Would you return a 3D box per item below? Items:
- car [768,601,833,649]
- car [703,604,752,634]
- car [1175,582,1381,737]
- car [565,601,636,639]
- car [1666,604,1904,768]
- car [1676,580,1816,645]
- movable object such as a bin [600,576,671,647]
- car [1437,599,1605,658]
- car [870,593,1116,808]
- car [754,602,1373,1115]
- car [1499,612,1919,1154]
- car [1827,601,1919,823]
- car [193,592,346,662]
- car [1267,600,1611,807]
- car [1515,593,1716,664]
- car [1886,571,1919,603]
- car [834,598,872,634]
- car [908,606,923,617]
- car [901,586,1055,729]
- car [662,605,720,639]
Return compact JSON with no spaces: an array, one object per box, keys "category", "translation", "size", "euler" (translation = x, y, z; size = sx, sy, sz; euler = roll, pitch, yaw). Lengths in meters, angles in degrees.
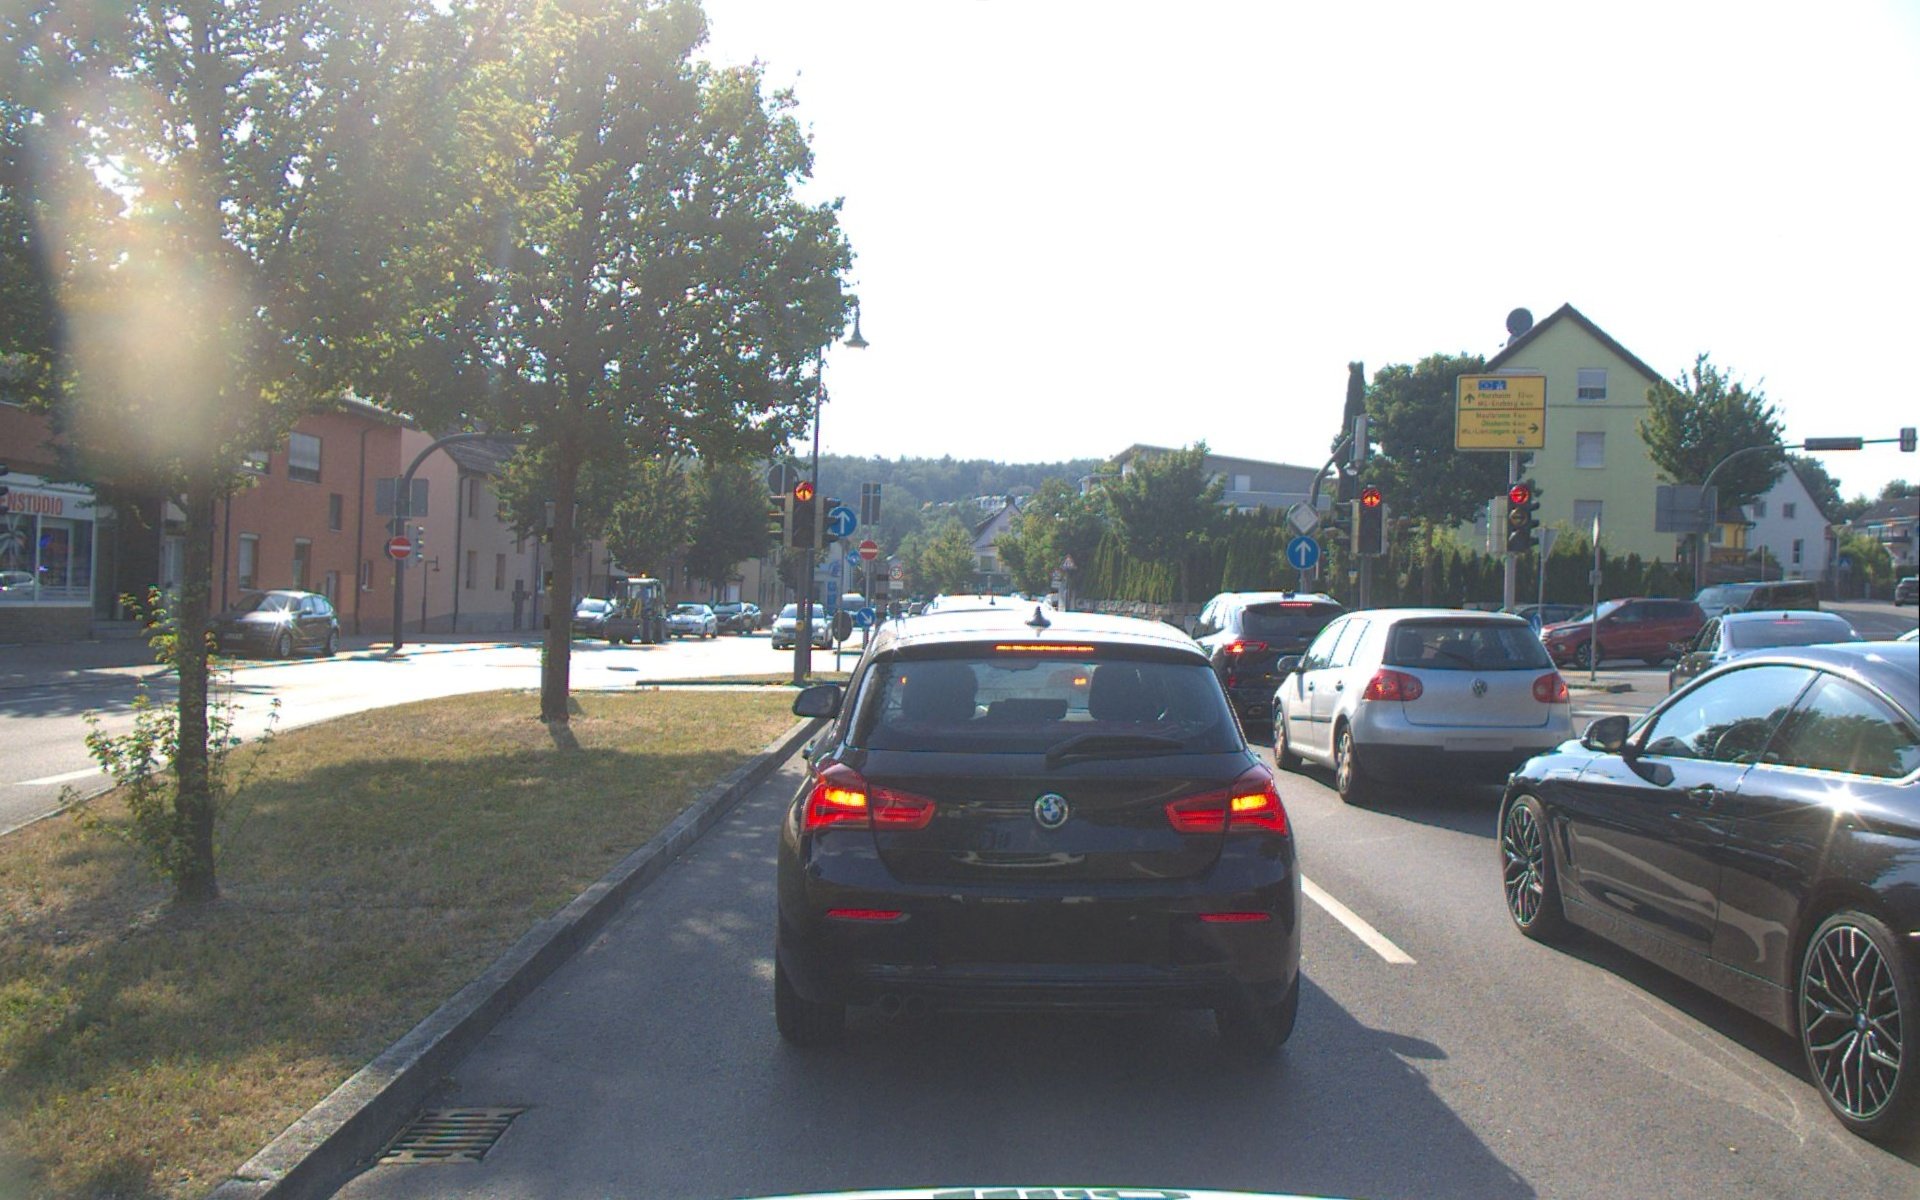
[{"category":"car","translation":[-5.309,0.804,55.419],"size":[1.801,1.508,4.000],"euler":[1,0,0]},{"category":"car","translation":[-11.856,0.960,84.583],"size":[1.701,1.323,3.800],"euler":[5,0,2]},{"category":"car","translation":[3.742,0.648,20.068],"size":[1.725,1.685,3.902],"euler":[-1,0,0]},{"category":"car","translation":[-14.499,0.806,66.919],"size":[1.701,1.323,4.001],"euler":[5,0,3]},{"category":"car","translation":[9.042,0.851,18.471],"size":[1.621,1.569,4.401],"euler":[-1,0,17]},{"category":"car","translation":[22.560,0.357,47.370],"size":[4.739,1.770,1.822],"euler":[1,0,-40]},{"category":"movable object such as a bin","translation":[-11.874,0.405,60.778],"size":[1.701,2.485,4.449],"euler":[0,0,0]},{"category":"car","translation":[15.166,0.761,44.844],"size":[3.907,1.515,1.847],"euler":[1,0,-3]},{"category":"car","translation":[0.232,0.715,13.995],"size":[1.751,1.520,4.280],"euler":[-1,0,0]},{"category":"car","translation":[0.291,0.735,6.850],"size":[1.751,1.422,4.280],"euler":[-1,0,0]},{"category":"car","translation":[3.466,0.784,5.830],"size":[1.725,1.422,4.280],"euler":[-1,0,0]},{"category":"car","translation":[7.617,0.797,11.638],"size":[1.583,1.569,3.320],"euler":[-1,0,6]},{"category":"car","translation":[-15.475,0.575,37.305],"size":[1.702,1.323,3.999],"euler":[5,0,-1]},{"category":"car","translation":[3.788,0.739,13.786],"size":[1.725,1.451,3.902],"euler":[-1,0,0]},{"category":"car","translation":[16.322,0.688,41.266],"size":[4.333,1.670,1.845],"euler":[1,0,-8]},{"category":"car","translation":[53.293,-0.715,93.032],"size":[1.929,1.709,4.205],"euler":[0,0,32]},{"category":"car","translation":[-7.396,1.088,114.817],"size":[2.041,2.435,5.529],"euler":[1,0,1]},{"category":"car","translation":[-6.025,1.542,224.537],"size":[1.701,1.323,3.800],"euler":[5,0,2]},{"category":"car","translation":[0.203,0.648,21.035],"size":[1.751,1.622,4.280],"euler":[-1,0,0]},{"category":"car","translation":[-11.813,0.944,72.820],"size":[1.701,1.323,3.800],"euler":[5,0,2]}]
